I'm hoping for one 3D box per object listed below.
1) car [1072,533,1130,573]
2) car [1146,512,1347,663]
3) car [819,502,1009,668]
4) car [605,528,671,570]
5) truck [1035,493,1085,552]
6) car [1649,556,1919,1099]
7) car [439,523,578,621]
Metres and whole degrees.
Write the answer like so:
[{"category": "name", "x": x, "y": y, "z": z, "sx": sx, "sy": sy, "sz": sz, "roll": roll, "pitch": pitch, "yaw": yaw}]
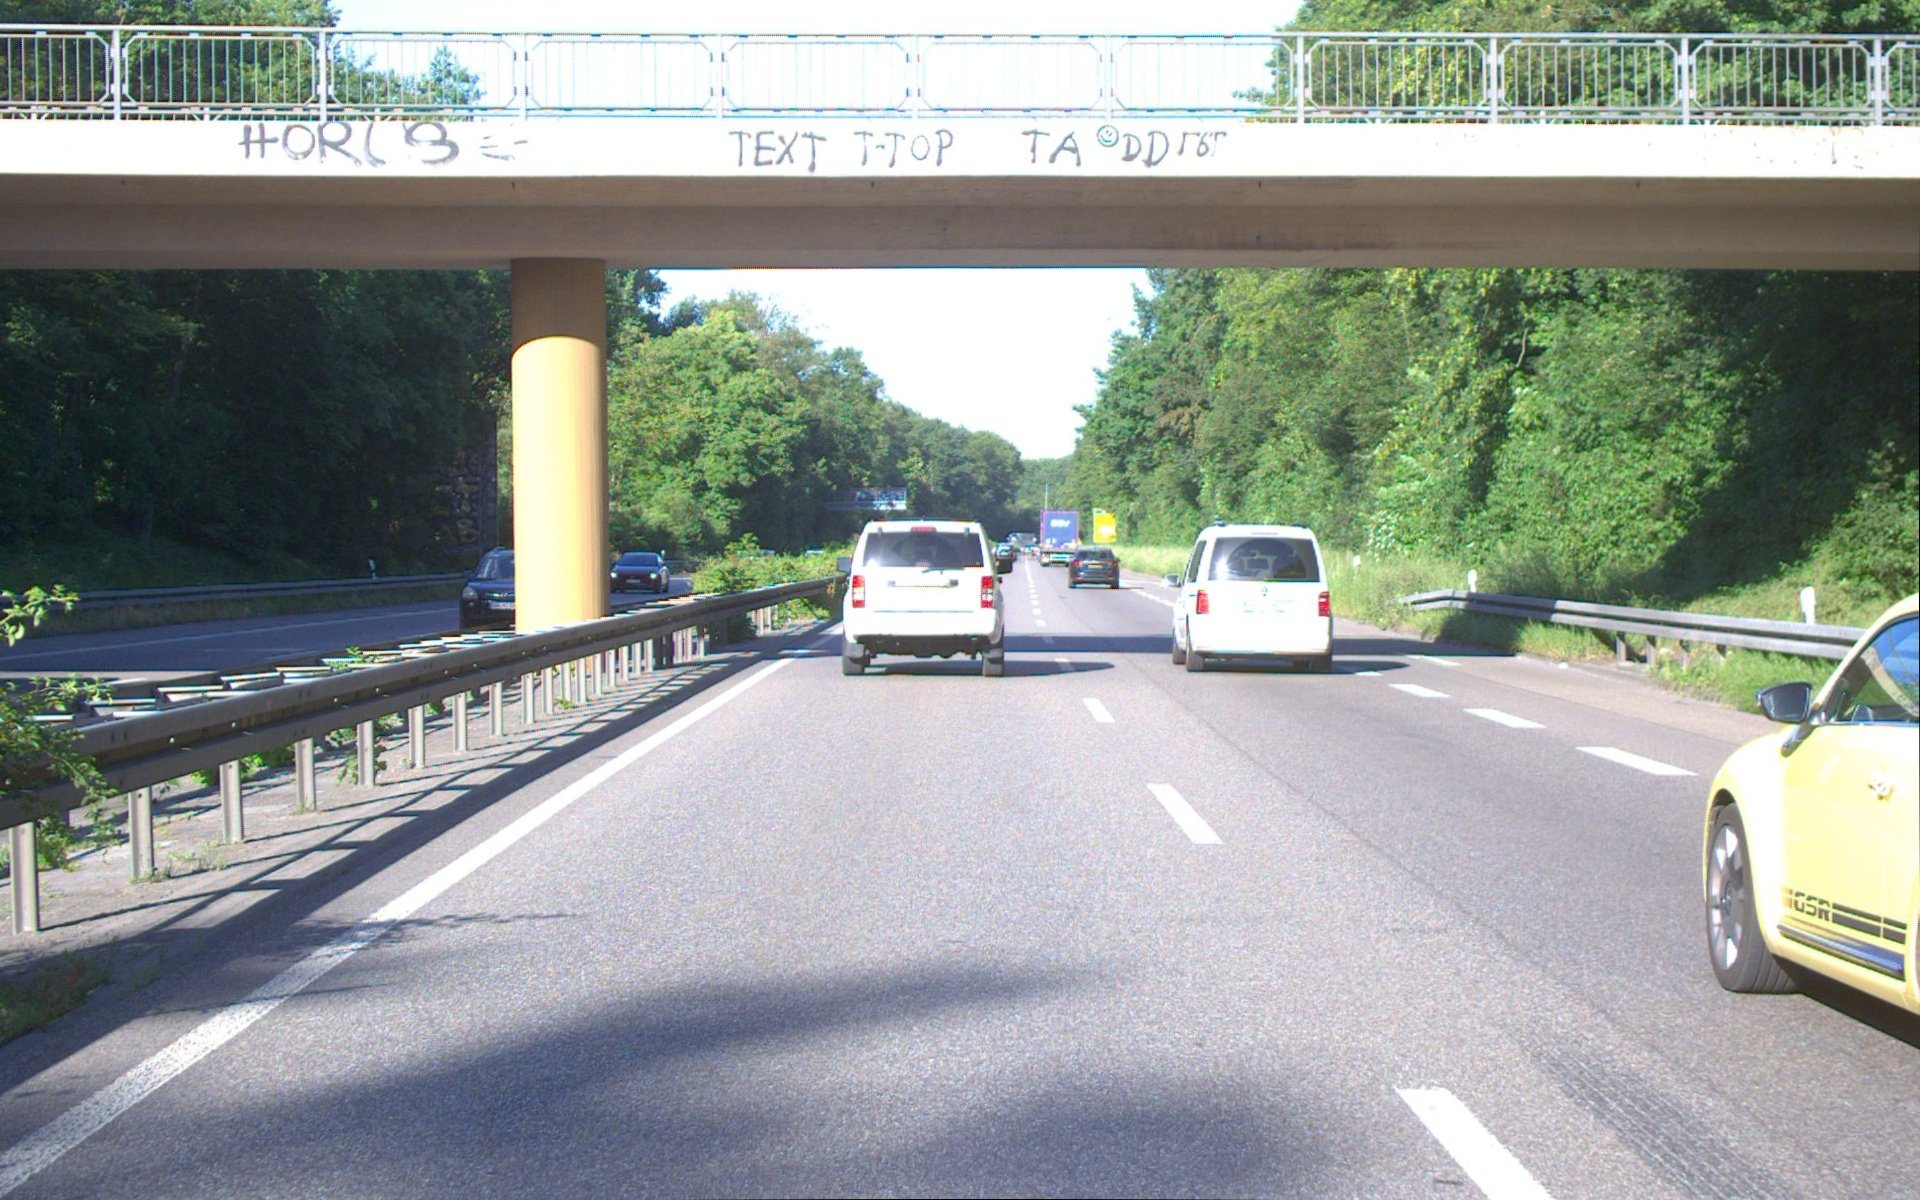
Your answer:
[{"category": "car", "x": 5.044, "y": -1.701, "z": 123.442, "sx": 1.993, "sy": 1.393, "sz": 4.000, "roll": 0, "pitch": 1, "yaw": 1}, {"category": "car", "x": 3.505, "y": -0.198, "z": 42.810, "sx": 1.863, "sy": 1.764, "sz": 4.470, "roll": -1, "pitch": 1, "yaw": -4}, {"category": "car", "x": -0.539, "y": -0.204, "z": 40.101, "sx": 2.085, "sy": 1.822, "sz": 4.000, "roll": 0, "pitch": 1, "yaw": -1}, {"category": "car", "x": -11.577, "y": -1.838, "z": 123.850, "sx": 1.960, "sy": 1.445, "sz": 4.584, "roll": 1, "pitch": 1, "yaw": 0}, {"category": "truck", "x": 7.121, "y": -5.516, "z": 246.211, "sx": 3.496, "sy": 4.158, "sz": 8.862, "roll": 0, "pitch": 1, "yaw": 1}, {"category": "car", "x": 3.549, "y": 0.624, "z": 10.546, "sx": 1.879, "sy": 1.456, "sz": 4.356, "roll": 1, "pitch": 1, "yaw": -1}, {"category": "car", "x": -8.350, "y": -0.553, "z": 63.937, "sx": 1.960, "sy": 1.718, "sz": 4.592, "roll": -1, "pitch": 1, "yaw": 0}]
